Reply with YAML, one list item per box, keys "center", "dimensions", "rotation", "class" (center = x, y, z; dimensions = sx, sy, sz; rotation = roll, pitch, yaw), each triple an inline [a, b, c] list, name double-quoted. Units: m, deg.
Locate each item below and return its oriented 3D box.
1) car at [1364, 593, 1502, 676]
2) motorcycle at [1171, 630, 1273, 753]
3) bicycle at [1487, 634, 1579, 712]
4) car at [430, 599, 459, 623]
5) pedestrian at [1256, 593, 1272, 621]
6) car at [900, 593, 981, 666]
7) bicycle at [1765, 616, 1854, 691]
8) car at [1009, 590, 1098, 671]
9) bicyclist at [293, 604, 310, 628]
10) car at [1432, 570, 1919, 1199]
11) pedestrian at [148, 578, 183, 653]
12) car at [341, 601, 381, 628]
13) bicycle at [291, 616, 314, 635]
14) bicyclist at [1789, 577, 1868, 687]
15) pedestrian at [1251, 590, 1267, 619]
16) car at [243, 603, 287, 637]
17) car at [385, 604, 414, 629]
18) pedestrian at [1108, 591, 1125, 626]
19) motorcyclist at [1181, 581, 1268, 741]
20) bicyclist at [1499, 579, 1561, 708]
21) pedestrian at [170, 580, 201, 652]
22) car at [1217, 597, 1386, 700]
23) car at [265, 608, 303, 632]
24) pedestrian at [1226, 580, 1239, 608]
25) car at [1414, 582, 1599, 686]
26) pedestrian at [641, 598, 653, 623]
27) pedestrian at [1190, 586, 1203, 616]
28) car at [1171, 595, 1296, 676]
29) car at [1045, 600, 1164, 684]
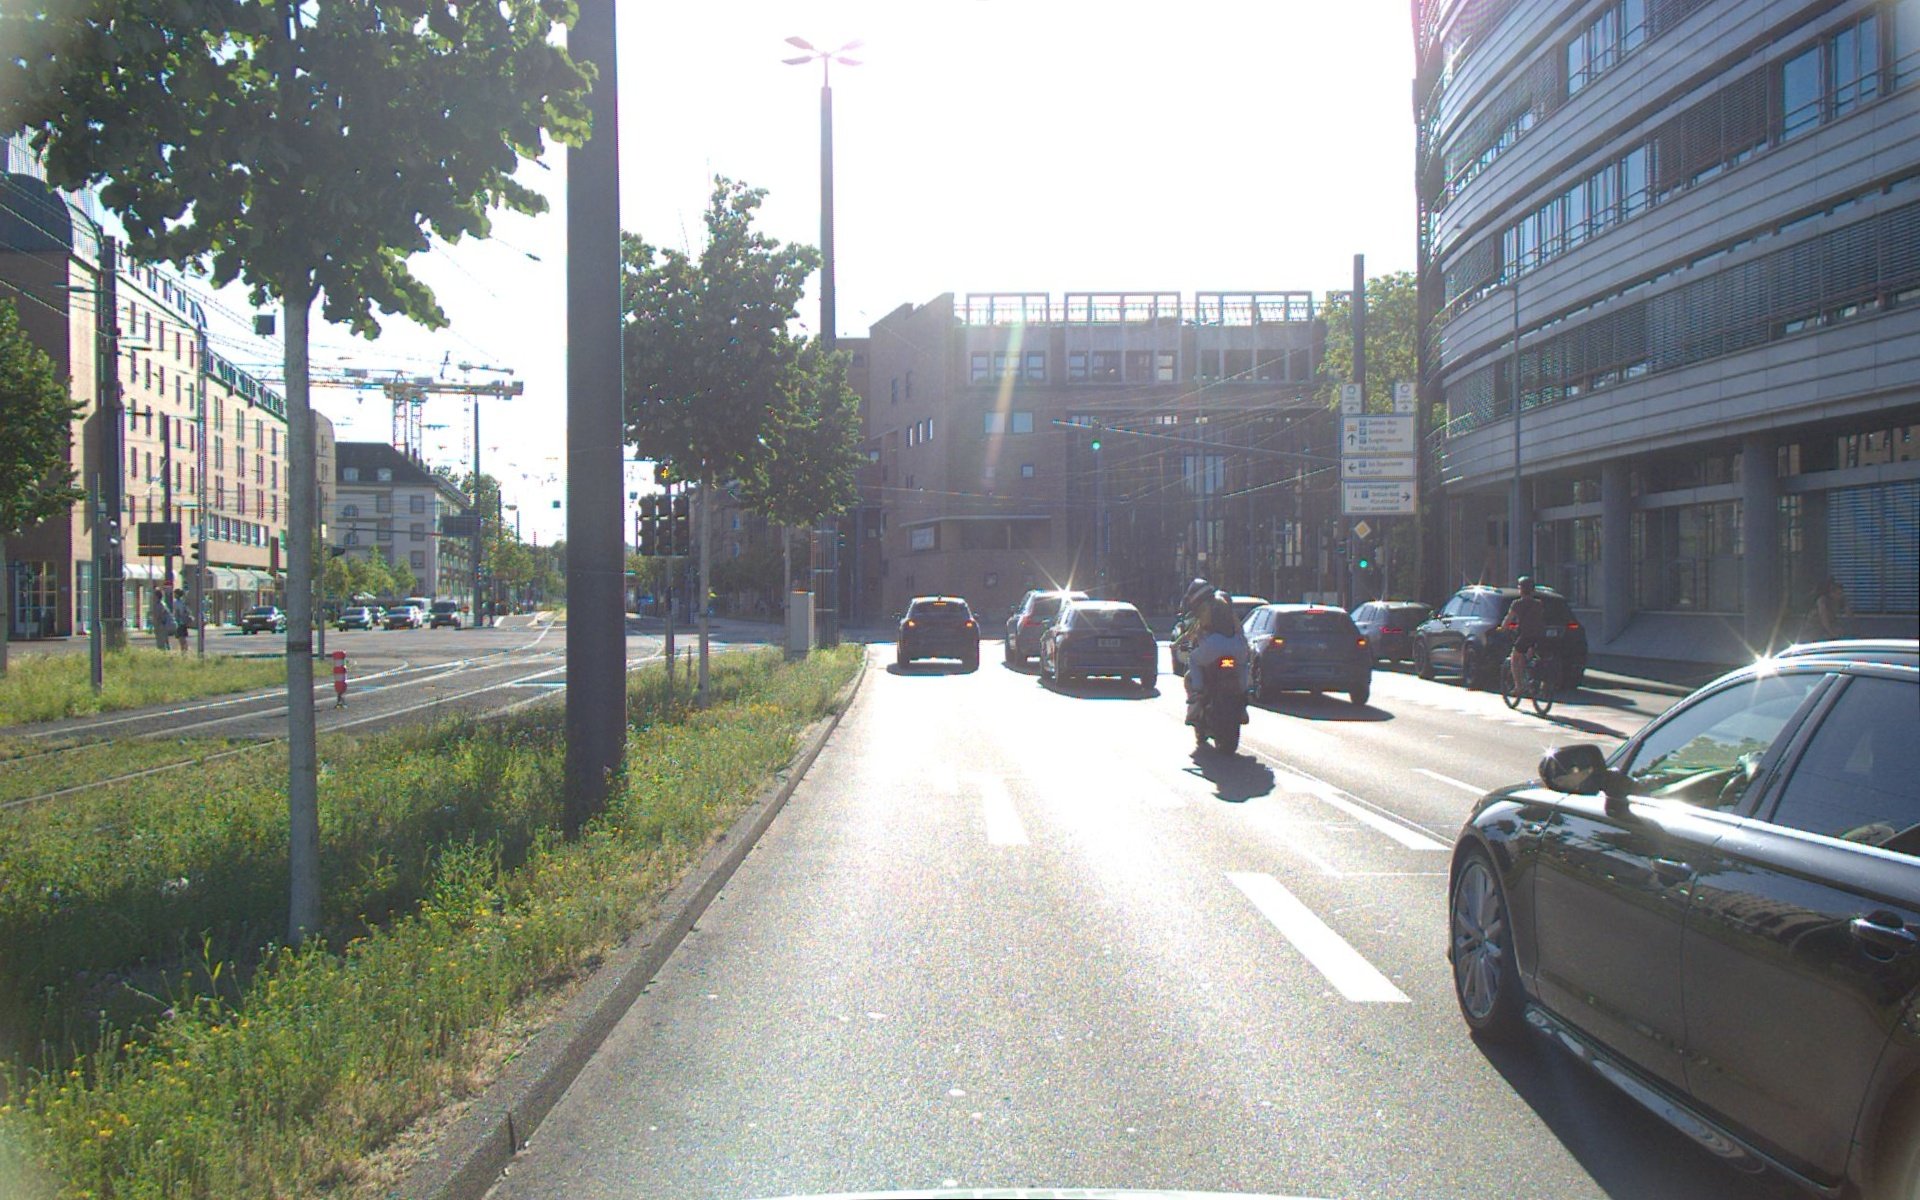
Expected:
- center: [10.081, 0.698, 35.533]
  dimensions: [1.952, 1.680, 4.001]
  rotation: [0, 0, 2]
  class: "car"
- center: [2.650, 0.900, 16.905]
  dimensions: [0.759, 1.135, 1.969]
  rotation: [-1, 0, 1]
  class: "motorcycle"
- center: [8.212, 1.022, 23.794]
  dimensions: [0.481, 1.015, 2.328]
  rotation: [-1, 0, -1]
  class: "bicycle"
- center: [-33.026, 0.692, 105.943]
  dimensions: [1.718, 1.531, 3.859]
  rotation: [-1, 0, -19]
  class: "car"
- center: [18.007, 0.440, 97.891]
  dimensions: [0.881, 1.645, 0.561]
  rotation: [-1, 0, 7]
  class: "pedestrian"
- center: [-0.418, 0.596, 35.504]
  dimensions: [1.615, 1.458, 3.999]
  rotation: [0, 0, -1]
  class: "car"
- center: [12.903, 0.791, 25.162]
  dimensions: [0.494, 1.076, 1.702]
  rotation: [-3, 0, 2]
  class: "bicycle"
- center: [2.014, 0.629, 36.658]
  dimensions: [1.702, 1.680, 3.999]
  rotation: [0, 0, -1]
  class: "car"
- center: [-39.591, 0.957, 99.504]
  dimensions: [0.743, 1.399, 0.949]
  rotation: [0, 0, -9]
  class: "bicyclist"
- center: [2.733, 0.723, 4.086]
  dimensions: [1.774, 1.518, 4.495]
  rotation: [2, 0, -1]
  class: "car"
- center: [-20.068, 0.387, 41.794]
  dimensions: [0.619, 1.862, 0.662]
  rotation: [-1, 0, -8]
  class: "pedestrian"
- center: [-38.558, 0.903, 106.543]
  dimensions: [1.960, 1.624, 4.720]
  rotation: [-1, 0, -15]
  class: "car"
- center: [-39.754, 1.545, 100.030]
  dimensions: [0.638, 1.104, 2.920]
  rotation: [0, 0, -10]
  class: "bicycle"
- center: [13.242, 0.475, 25.234]
  dimensions: [0.670, 1.646, 0.991]
  rotation: [-1, 0, 0]
  class: "bicyclist"
- center: [17.479, 0.265, 96.795]
  dimensions: [0.881, 1.645, 0.561]
  rotation: [-1, 0, 7]
  class: "pedestrian"
- center: [-43.477, 1.238, 103.508]
  dimensions: [1.960, 2.049, 3.984]
  rotation: [-1, 0, -15]
  class: "car"
- center: [-36.088, 1.063, 106.495]
  dimensions: [1.718, 1.531, 3.859]
  rotation: [-1, 0, -19]
  class: "car"
- center: [8.064, 0.420, 85.165]
  dimensions: [0.692, 1.789, 0.560]
  rotation: [-1, 0, 23]
  class: "pedestrian"
- center: [2.638, 0.591, 16.595]
  dimensions: [0.729, 1.557, 1.021]
  rotation: [-1, 0, 2]
  class: "motorcyclist"
- center: [8.206, 0.618, 23.840]
  dimensions: [0.565, 1.822, 0.863]
  rotation: [-1, 0, -1]
  class: "bicyclist"
- center: [-20.092, 0.403, 42.905]
  dimensions: [0.552, 1.849, 0.662]
  rotation: [-1, 0, -8]
  class: "pedestrian"
- center: [5.285, 0.704, 26.100]
  dimensions: [1.770, 1.482, 3.999]
  rotation: [1, 0, -1]
  class: "car"
- center: [-45.239, 1.312, 110.703]
  dimensions: [1.853, 1.536, 3.984]
  rotation: [-1, 0, -15]
  class: "car"
- center: [16.180, -0.331, 98.195]
  dimensions: [0.722, 1.645, 0.561]
  rotation: [-1, 0, 7]
  class: "pedestrian"
- center: [10.023, 0.574, 30.707]
  dimensions: [1.953, 1.780, 4.328]
  rotation: [-1, 0, -1]
  class: "car"
- center: [-21.135, 0.715, 111.514]
  dimensions: [0.730, 1.669, 0.765]
  rotation: [0, 0, -15]
  class: "pedestrian"
- center: [11.761, 0.059, 82.223]
  dimensions: [0.519, 1.455, 0.598]
  rotation: [0, 0, -2]
  class: "pedestrian"
- center: [5.391, 0.661, 33.005]
  dimensions: [1.770, 1.482, 3.999]
  rotation: [1, 0, -1]
  class: "car"
- center: [2.495, 0.687, 29.312]
  dimensions: [1.702, 1.373, 3.999]
  rotation: [0, 0, -1]
  class: "car"
